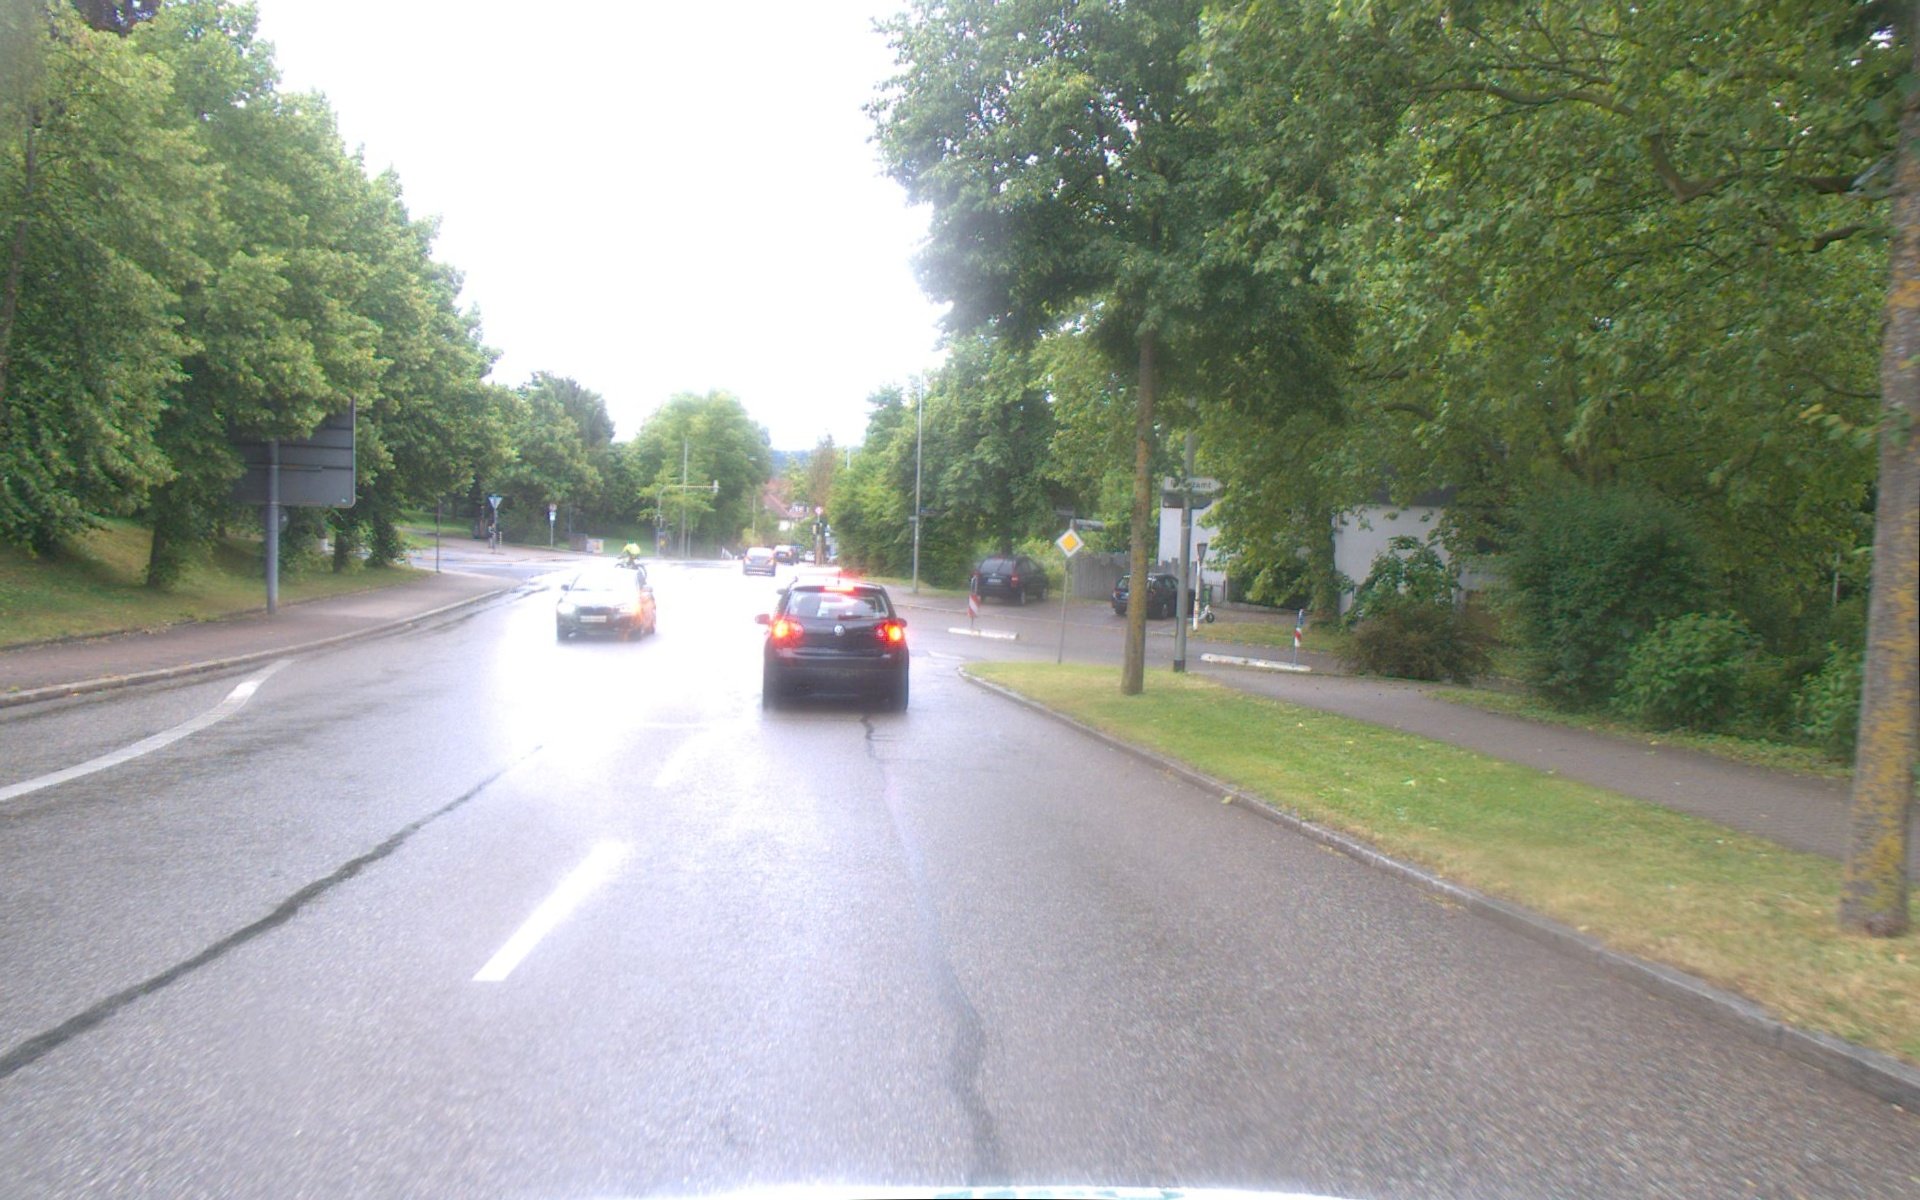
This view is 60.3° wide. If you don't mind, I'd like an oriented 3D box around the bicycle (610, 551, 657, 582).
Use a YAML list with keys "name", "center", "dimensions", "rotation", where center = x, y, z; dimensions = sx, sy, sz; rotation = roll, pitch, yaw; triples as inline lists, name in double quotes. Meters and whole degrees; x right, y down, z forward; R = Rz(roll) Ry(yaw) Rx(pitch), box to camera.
- name: "bicycle"
  center: [-13.249, -1.364, 67.096]
  dimensions: [2.003, 1.175, 0.848]
  rotation: [2, 0, 44]

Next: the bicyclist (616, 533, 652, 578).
- name: "bicyclist"
  center: [-13.222, -1.822, 67.094]
  dimensions: [1.264, 1.786, 0.849]
  rotation: [2, 0, 44]

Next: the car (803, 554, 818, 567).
- name: "car"
  center: [-18.396, -4.882, 203.886]
  dimensions: [1.688, 1.489, 3.996]
  rotation: [5, 1, -5]

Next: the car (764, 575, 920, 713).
- name: "car"
  center: [-1.482, 0.497, 20.525]
  dimensions: [1.688, 1.489, 3.996]
  rotation: [2, 0, -5]

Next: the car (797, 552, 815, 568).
- name: "car"
  center: [-15.614, -4.077, 167.854]
  dimensions: [1.688, 1.489, 3.996]
  rotation: [5, 1, -5]

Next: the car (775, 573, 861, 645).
- name: "car"
  center: [-3.299, 0.169, 37.853]
  dimensions: [1.721, 1.489, 3.993]
  rotation: [2, 1, -8]

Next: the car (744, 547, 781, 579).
- name: "car"
  center: [-10.388, -1.955, 87.069]
  dimensions: [1.688, 1.489, 3.996]
  rotation: [5, 1, -5]

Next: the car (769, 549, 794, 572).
- name: "car"
  center: [-13.109, -2.921, 121.604]
  dimensions: [1.688, 1.489, 3.996]
  rotation: [5, 1, -5]

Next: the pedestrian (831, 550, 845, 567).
- name: "pedestrian"
  center: [-10.347, -3.518, 139.780]
  dimensions: [1.051, 1.379, 0.919]
  rotation: [1, 1, 3]

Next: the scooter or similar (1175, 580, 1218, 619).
- name: "scooter or similar"
  center: [7.982, -0.023, 55.803]
  dimensions: [1.312, 1.308, 0.560]
  rotation: [1, 1, -14]

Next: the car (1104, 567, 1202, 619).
- name: "car"
  center: [6.816, -0.289, 58.055]
  dimensions: [1.719, 1.494, 4.558]
  rotation: [6, 5, 29]

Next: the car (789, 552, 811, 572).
- name: "car"
  center: [-13.493, -3.249, 139.418]
  dimensions: [1.688, 1.489, 3.996]
  rotation: [5, 1, -5]

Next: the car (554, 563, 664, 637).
- name: "car"
  center: [-7.401, -0.001, 35.232]
  dimensions: [1.688, 1.408, 4.136]
  rotation: [2, 0, -4]

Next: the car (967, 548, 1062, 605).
- name: "car"
  center: [2.037, -0.900, 60.157]
  dimensions: [1.908, 1.718, 4.906]
  rotation: [4, 5, 20]
